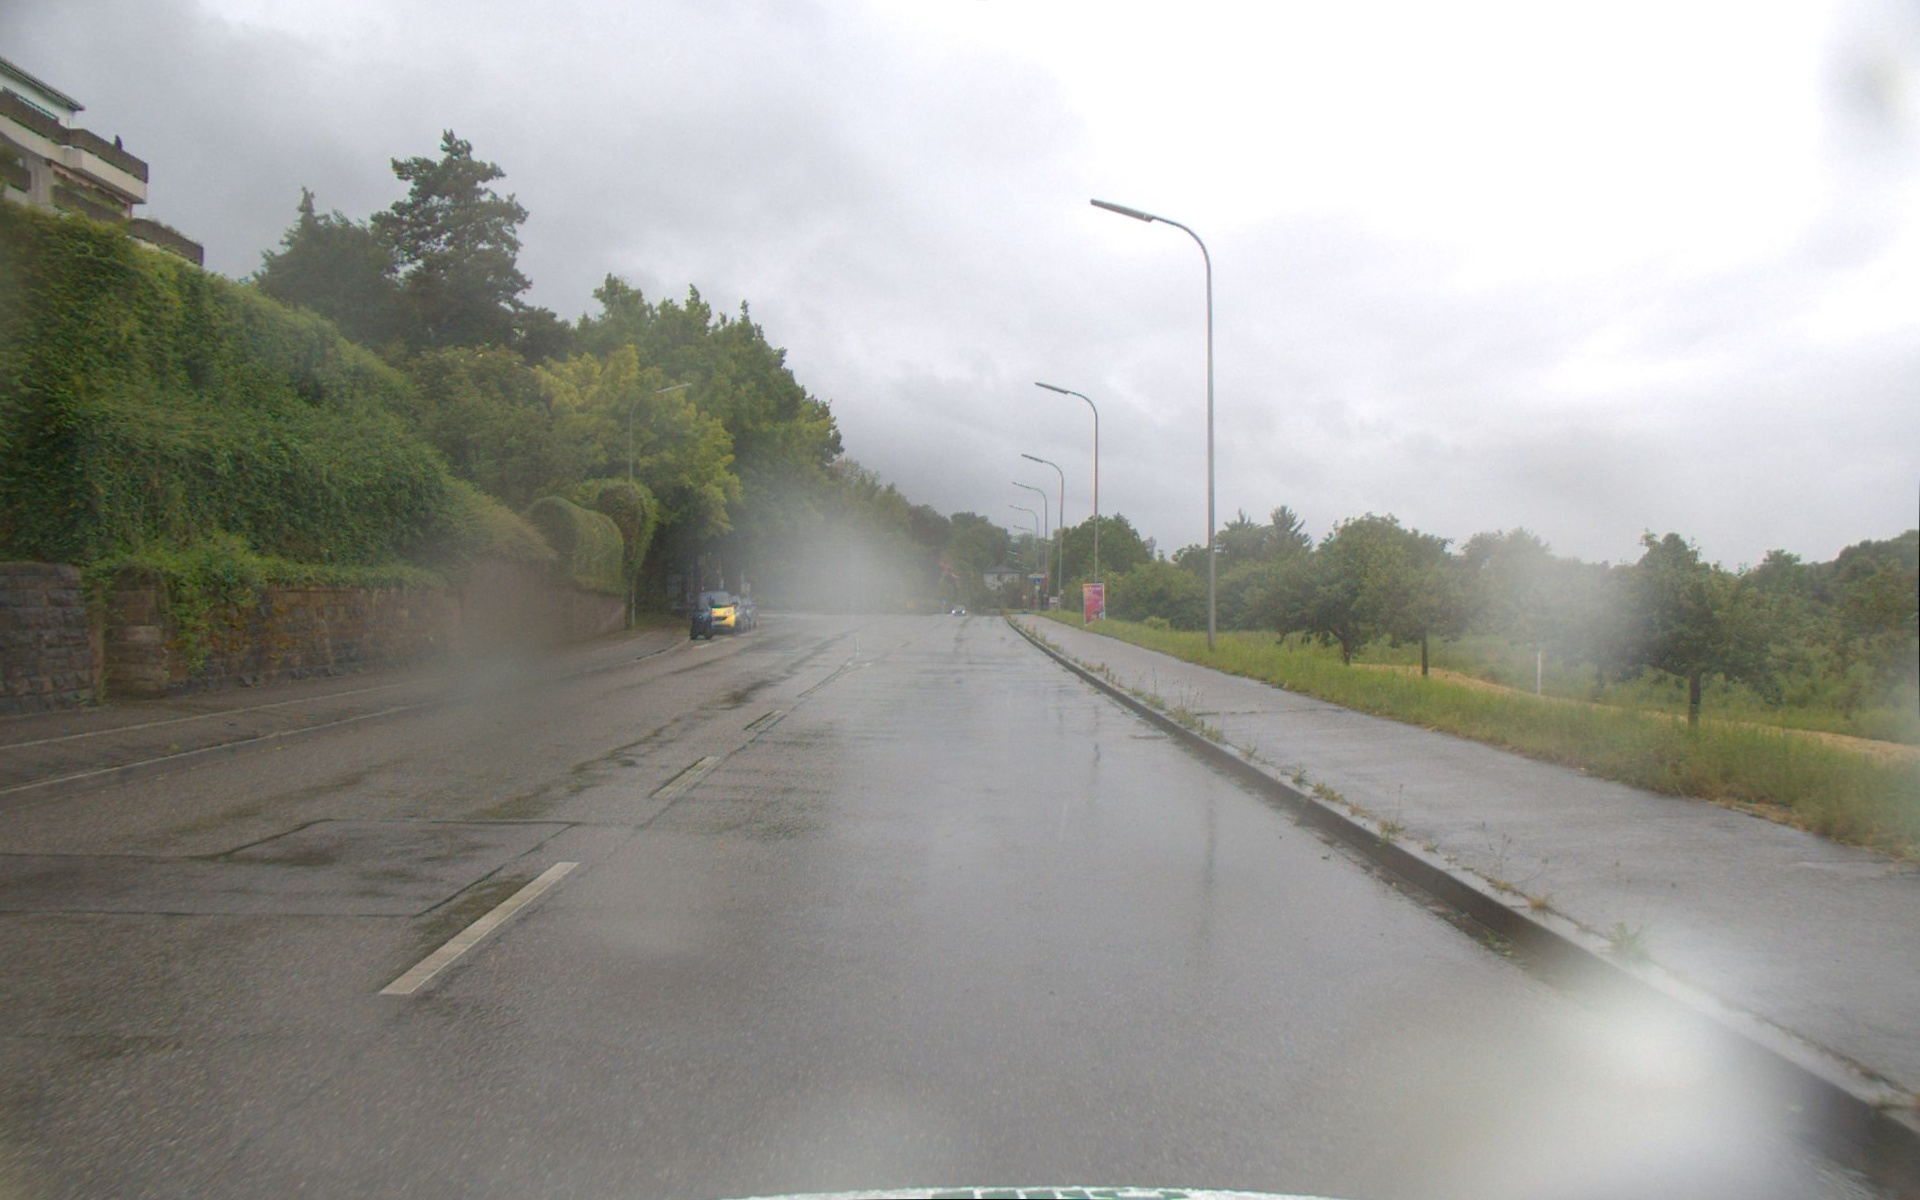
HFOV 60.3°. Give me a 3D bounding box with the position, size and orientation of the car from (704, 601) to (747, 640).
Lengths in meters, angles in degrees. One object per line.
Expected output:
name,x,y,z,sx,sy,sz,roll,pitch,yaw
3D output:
car,-8.877,0.756,62.835,1.405,1.444,4.099,-1,0,-5

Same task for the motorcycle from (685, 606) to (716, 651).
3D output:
motorcycle,-8.153,0.882,52.016,0.821,1.364,2.496,-1,0,-6

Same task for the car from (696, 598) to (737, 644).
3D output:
car,-8.624,0.739,58.537,1.407,1.564,2.814,-1,0,-9

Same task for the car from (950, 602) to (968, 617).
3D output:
car,-0.140,1.228,215.287,1.756,1.793,4.003,1,0,9
